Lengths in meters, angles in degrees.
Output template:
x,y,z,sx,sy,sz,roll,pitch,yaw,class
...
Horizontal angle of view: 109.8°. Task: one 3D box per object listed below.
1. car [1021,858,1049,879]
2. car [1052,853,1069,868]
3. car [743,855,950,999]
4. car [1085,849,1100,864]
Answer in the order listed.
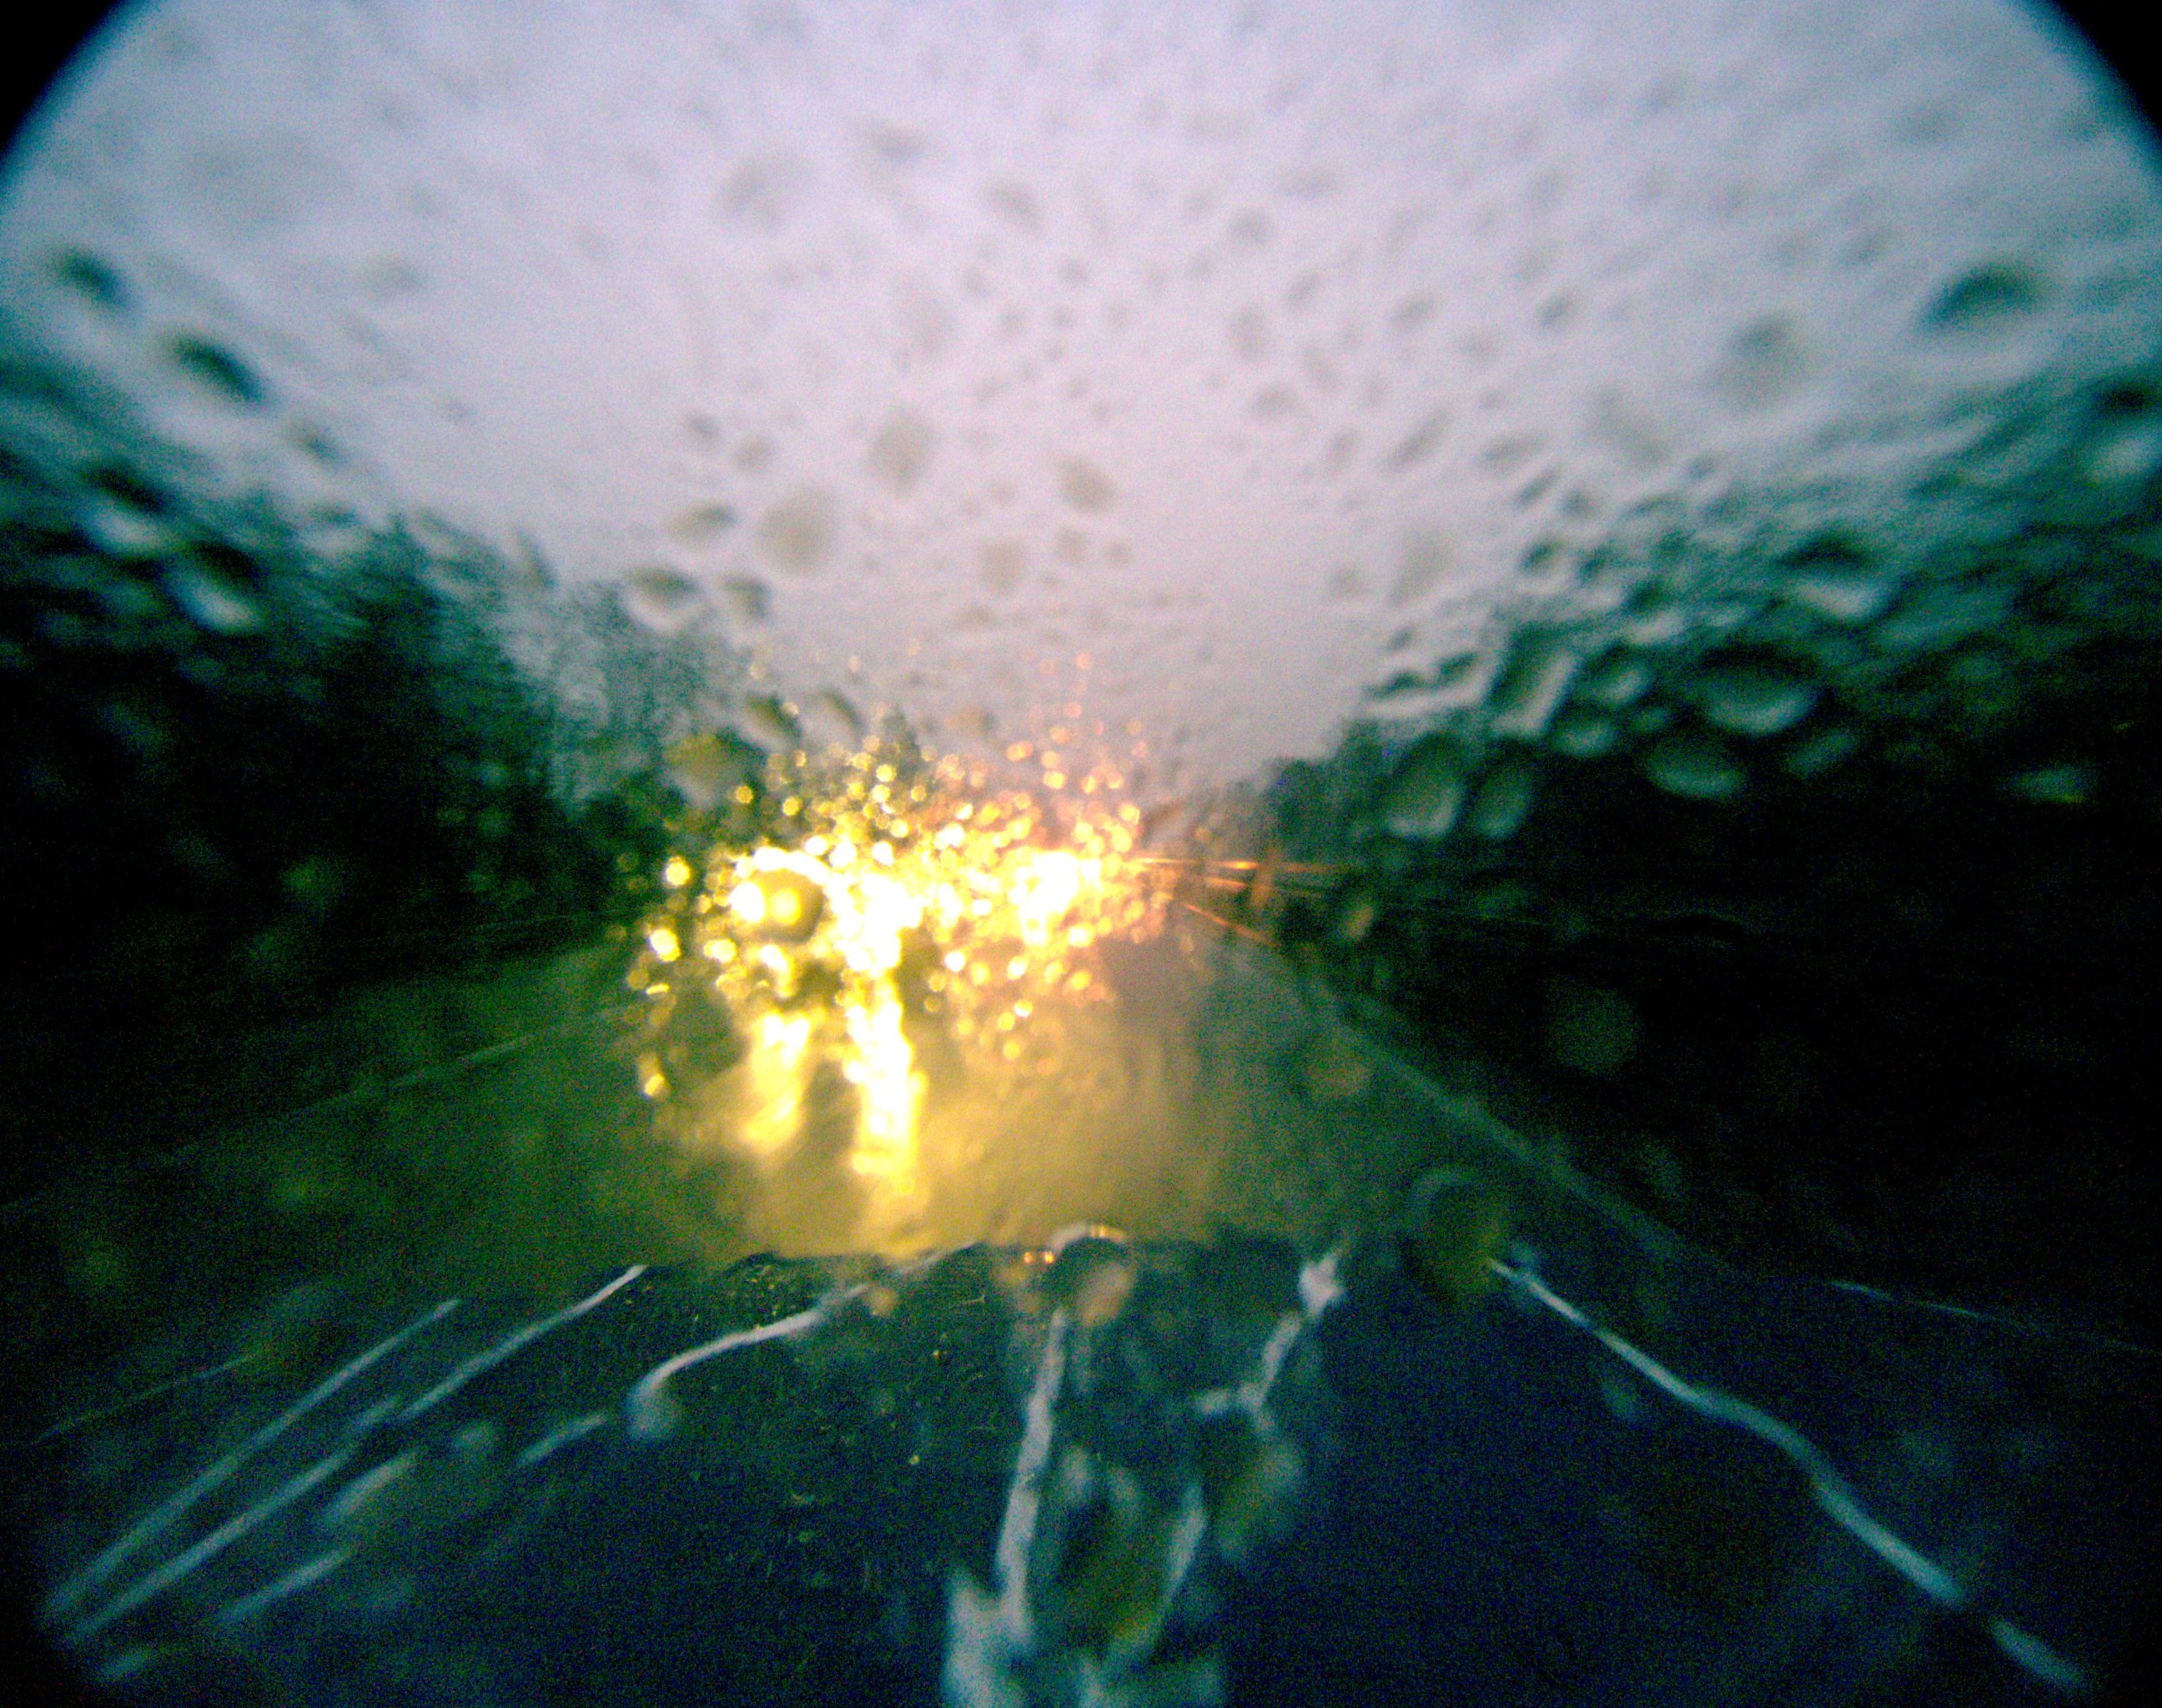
x,y,z,sx,sy,sz,roll,pitch,yaw,class
-3.201,0.999,53.353,1.603,1.358,3.305,-2,0,1,car
-2.186,0.705,82.106,1.742,1.441,3.999,-2,1,-1,car
-3.397,0.953,11.887,1.929,1.781,3.940,-2,1,0,car
1.545,0.357,105.649,1.767,1.922,3.998,-2,1,-3,car
